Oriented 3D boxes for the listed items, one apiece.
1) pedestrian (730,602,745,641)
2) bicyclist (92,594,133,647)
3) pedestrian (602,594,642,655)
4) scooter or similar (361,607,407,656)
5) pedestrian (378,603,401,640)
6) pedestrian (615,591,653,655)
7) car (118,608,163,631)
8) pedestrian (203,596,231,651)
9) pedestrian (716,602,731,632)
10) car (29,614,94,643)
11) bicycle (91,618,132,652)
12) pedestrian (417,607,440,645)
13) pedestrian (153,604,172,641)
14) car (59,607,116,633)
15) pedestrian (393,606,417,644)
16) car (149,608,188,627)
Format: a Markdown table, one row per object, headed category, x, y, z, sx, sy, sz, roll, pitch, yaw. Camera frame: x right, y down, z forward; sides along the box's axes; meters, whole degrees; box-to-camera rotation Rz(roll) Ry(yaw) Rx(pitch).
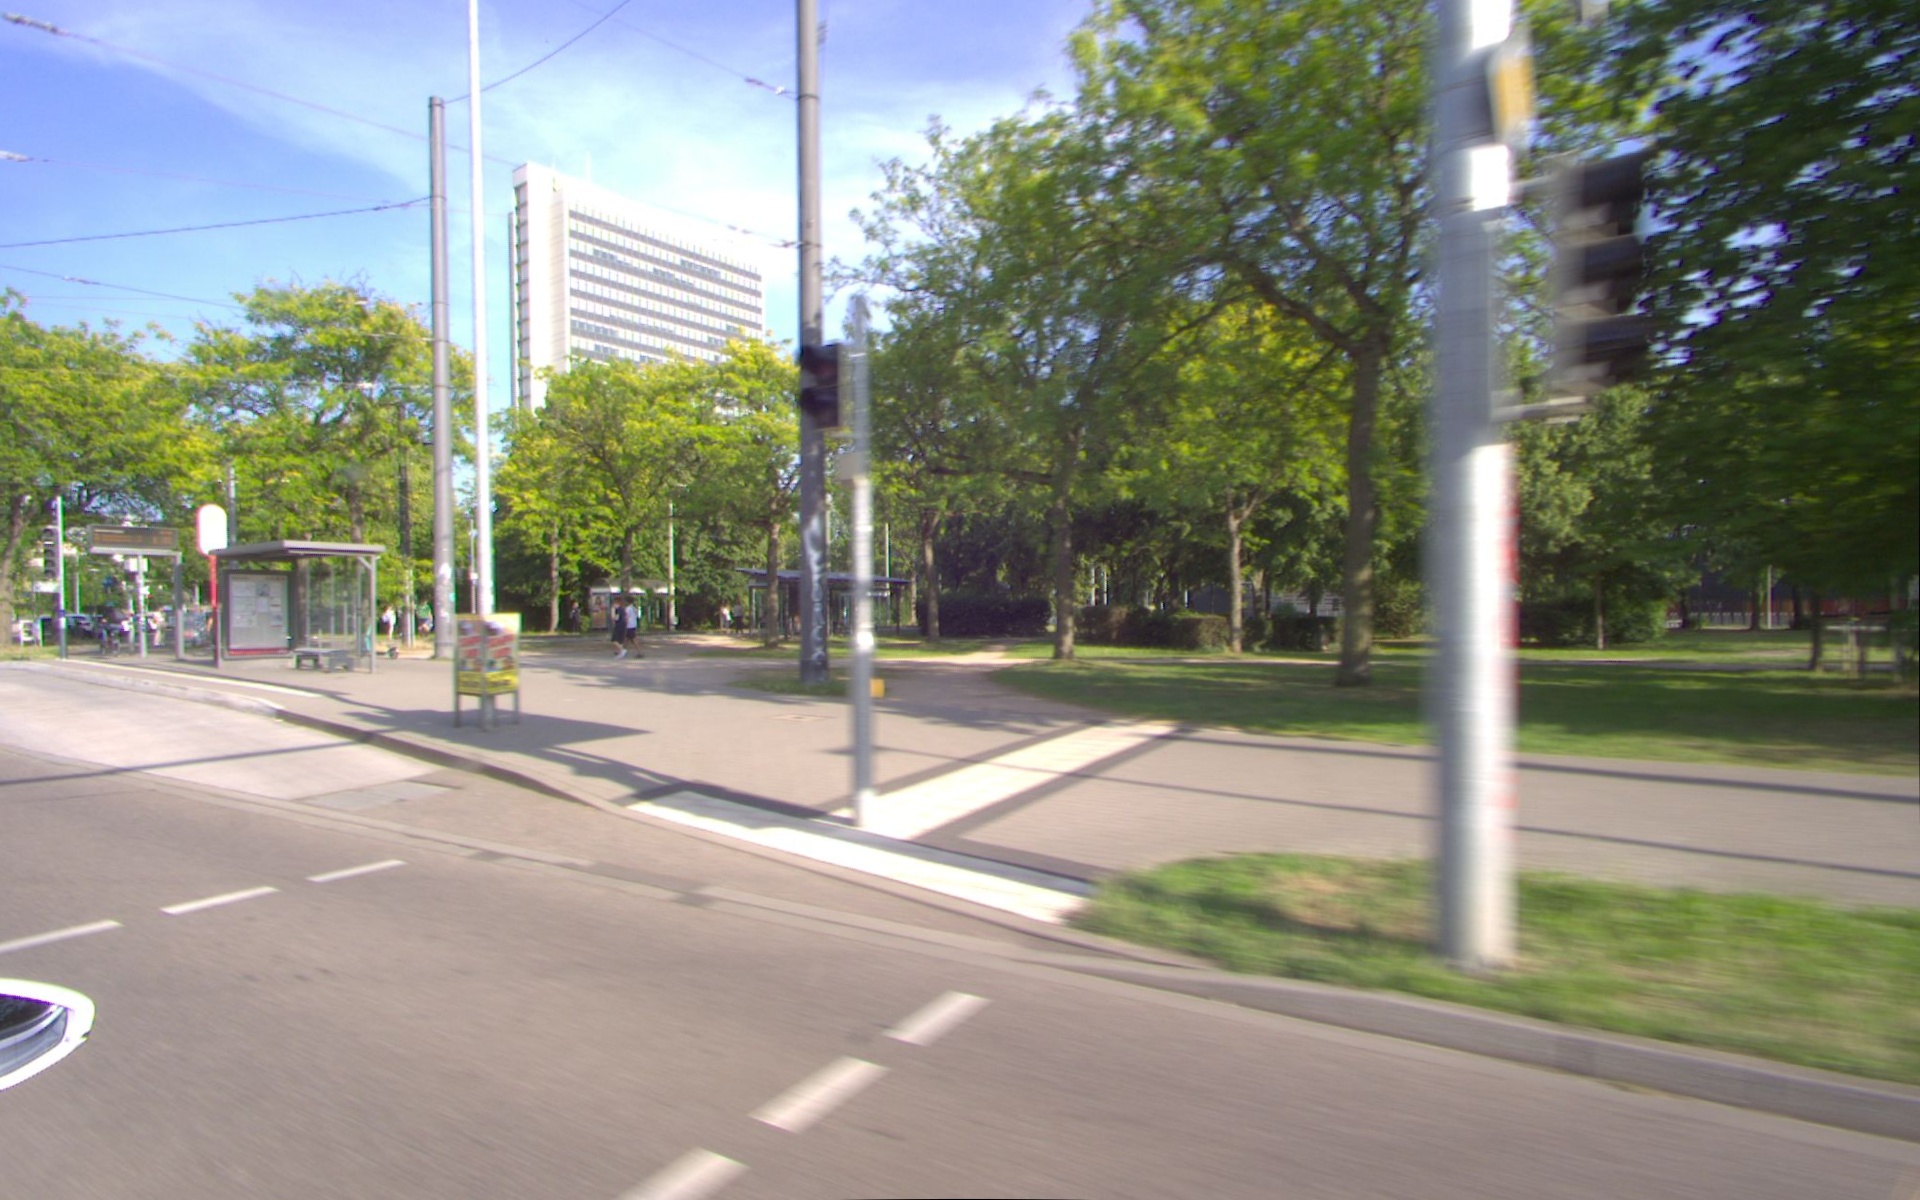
| category | x | y | z | sx | sy | sz | roll | pitch | yaw |
| --- | --- | --- | --- | --- | --- | --- | --- | --- | --- |
| pedestrian | -10.913 | 1.058 | 49.089 | 0.594 | 1.891 | 0.462 | 0 | -2 | 8 |
| bicyclist | -28.990 | 0.704 | 34.266 | 1.125 | 1.770 | 0.717 | 0 | 3 | 35 |
| pedestrian | -10.048 | 0.733 | 29.748 | 0.863 | 1.799 | 0.673 | 1 | -2 | 12 |
| scooter or similar | -14.857 | 0.805 | 25.818 | 1.115 | 1.248 | 0.351 | 0 | 0 | 18 |
| pedestrian | -25.387 | 0.965 | 44.596 | 0.680 | 1.632 | 0.640 | 0 | 0 | 32 |
| pedestrian | -9.983 | 0.716 | 30.677 | 0.863 | 1.921 | 0.673 | 1 | -2 | 4 |
| car | -59.510 | 1.398 | 72.788 | 1.832 | 1.535 | 3.980 | -2 | 0 | -29 |
| pedestrian | -24.705 | 0.778 | 33.306 | 0.580 | 1.799 | 0.575 | 0 | -2 | 40 |
| pedestrian | -14.745 | 1.082 | 62.474 | 0.667 | 1.823 | 0.605 | 2 | -2 | -45 |
| car | -51.390 | 1.620 | 57.341 | 1.832 | 1.535 | 3.981 | -2 | 0 | -28 |
| bicycle | -29.166 | 1.182 | 34.430 | 1.710 | 1.103 | 0.638 | -1 | 2 | 36 |
| pedestrian | -23.439 | 1.140 | 44.139 | 0.680 | 1.687 | 0.640 | 0 | 0 | 32 |
| pedestrian | -36.378 | 1.031 | 45.691 | 0.636 | 1.687 | 0.684 | 0 | 0 | -43 |
| car | -54.102 | 1.232 | 62.138 | 1.832 | 1.535 | 3.980 | -2 | 0 | -29 |
| pedestrian | -24.509 | 1.093 | 44.222 | 0.680 | 1.687 | 0.640 | 0 | 0 | 32 |
| car | -65.450 | 1.428 | 82.826 | 1.832 | 1.535 | 3.980 | -2 | 0 | -29 |
